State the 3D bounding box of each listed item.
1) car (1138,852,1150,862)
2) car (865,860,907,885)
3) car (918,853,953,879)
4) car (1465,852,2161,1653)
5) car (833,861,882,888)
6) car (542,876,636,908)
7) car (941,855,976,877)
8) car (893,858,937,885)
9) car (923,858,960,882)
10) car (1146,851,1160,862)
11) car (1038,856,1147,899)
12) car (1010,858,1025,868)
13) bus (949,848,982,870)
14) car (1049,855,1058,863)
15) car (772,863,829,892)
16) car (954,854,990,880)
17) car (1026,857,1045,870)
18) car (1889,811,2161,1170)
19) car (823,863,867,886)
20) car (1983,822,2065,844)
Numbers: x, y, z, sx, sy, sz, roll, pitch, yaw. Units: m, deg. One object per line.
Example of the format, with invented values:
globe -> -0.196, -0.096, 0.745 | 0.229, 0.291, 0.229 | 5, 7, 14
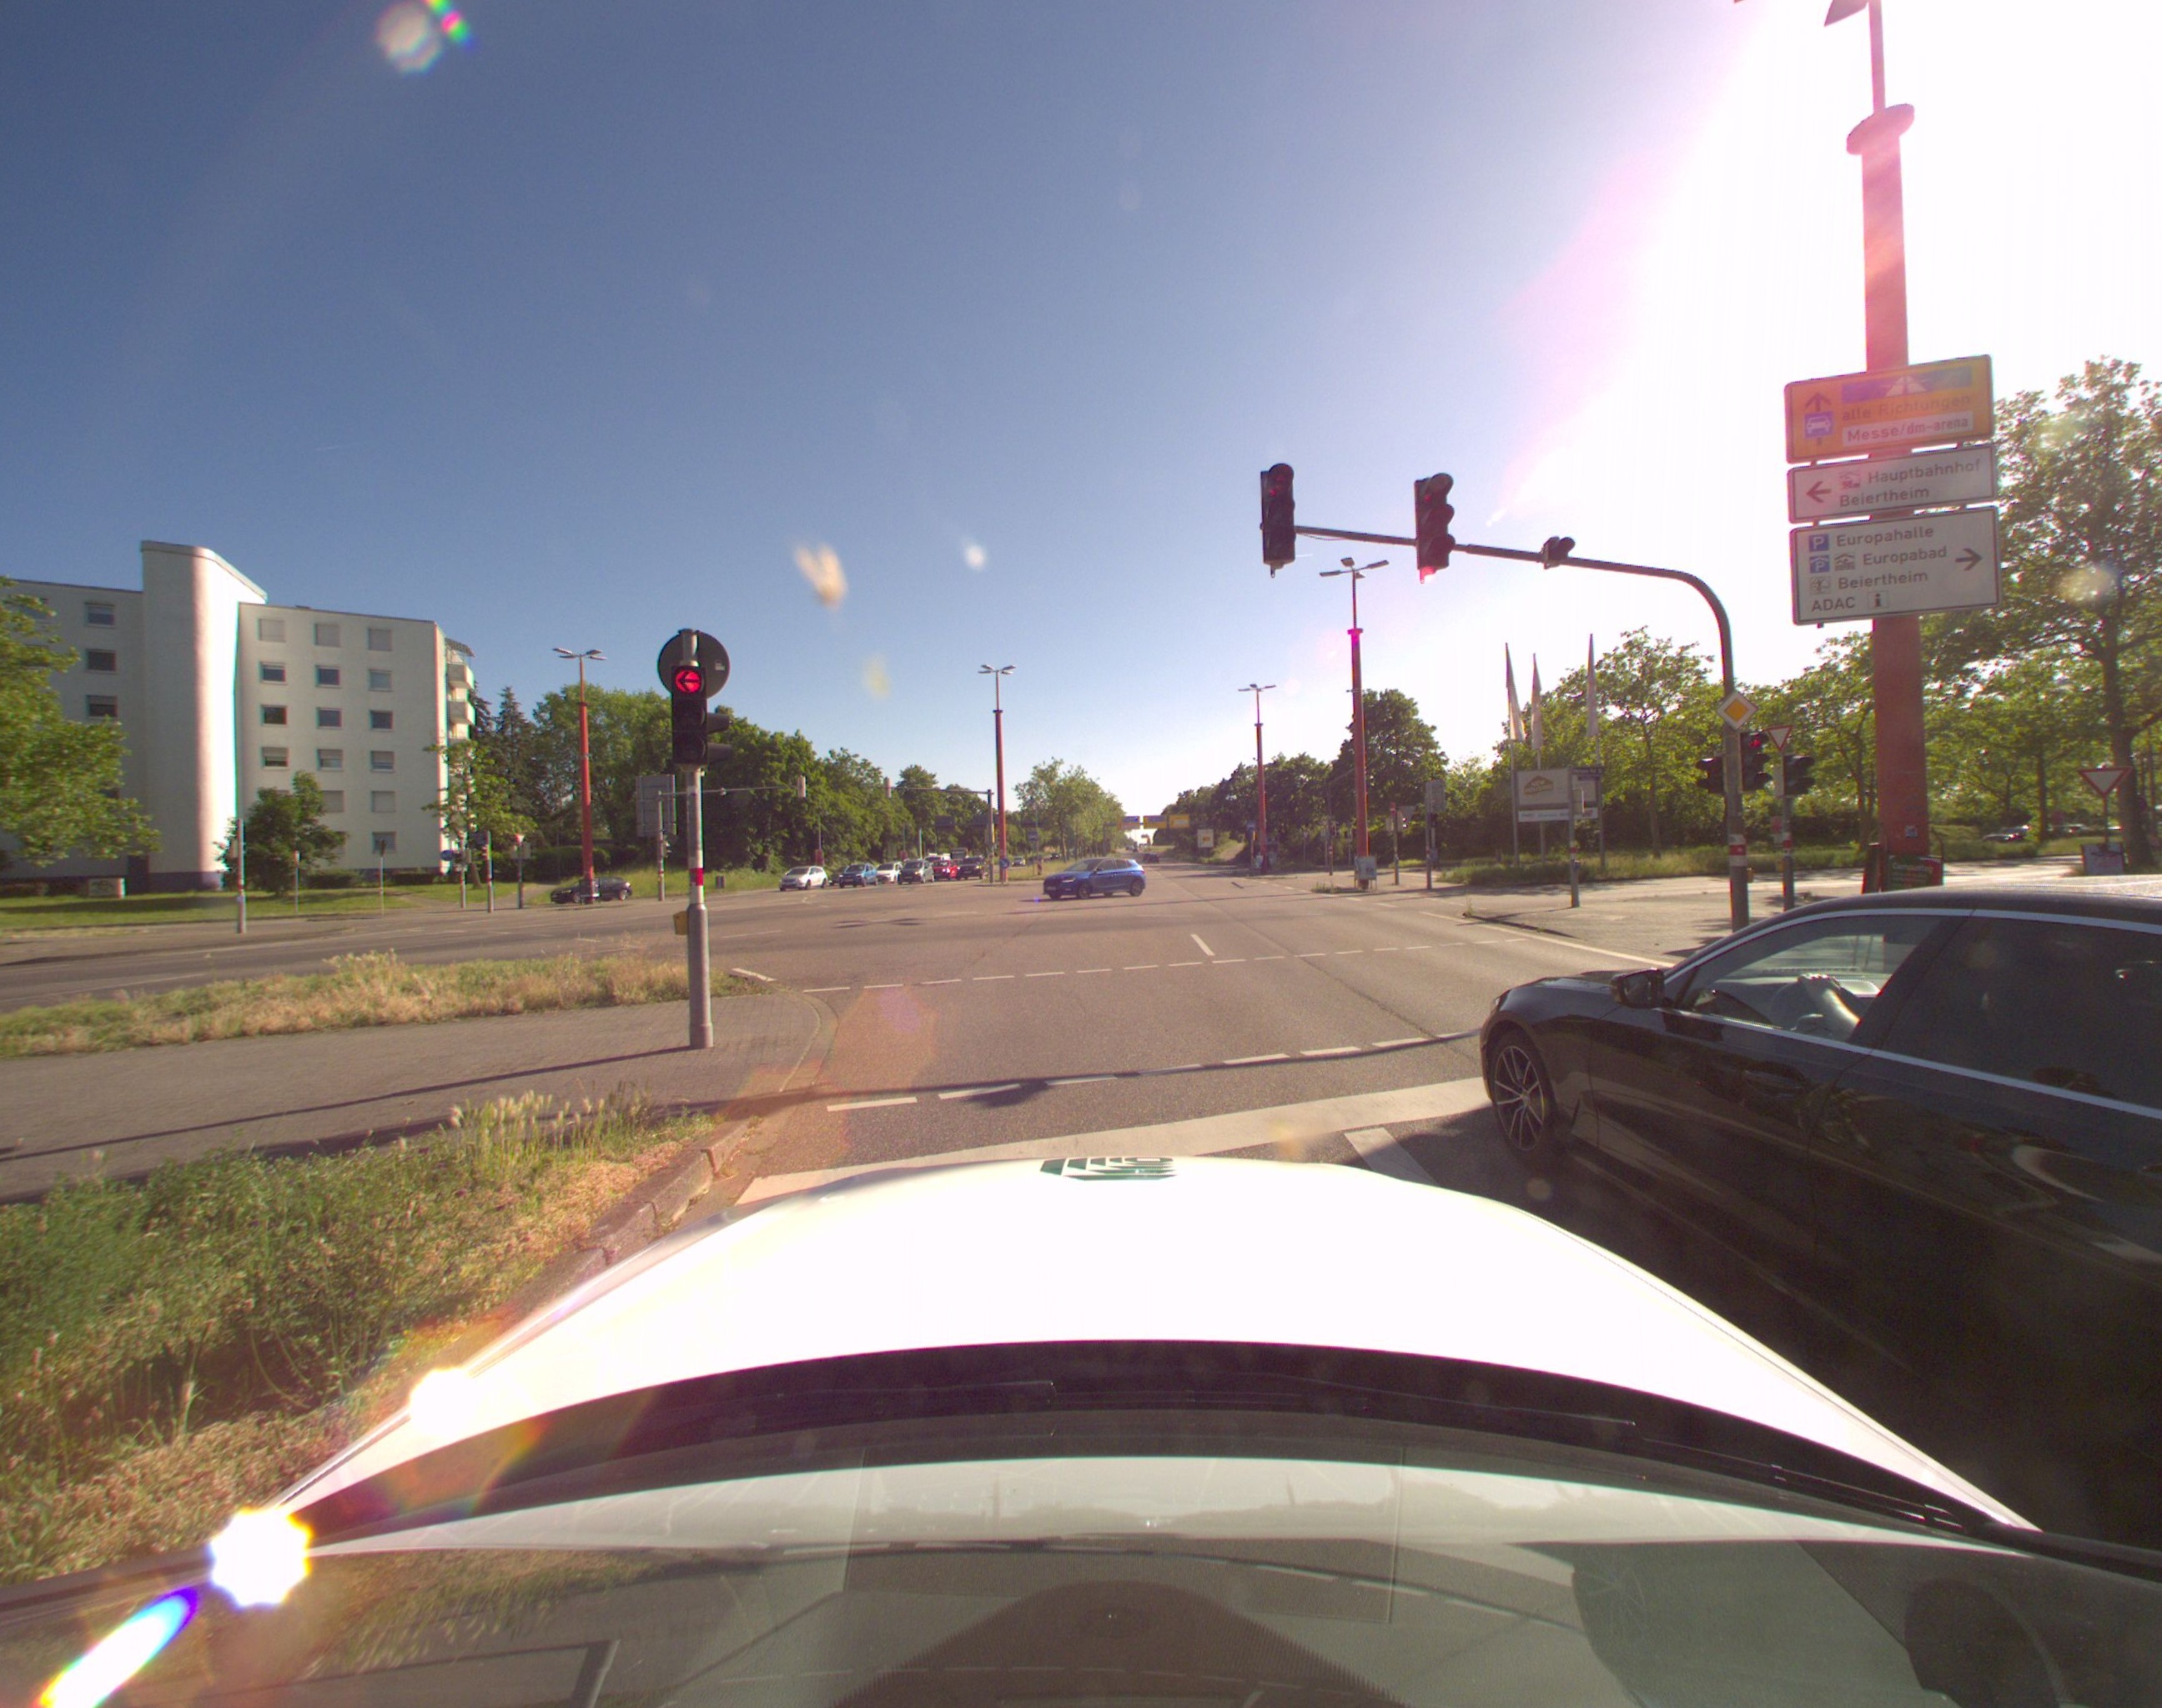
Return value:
car -> 11.242, 0.589, 145.763 | 1.986, 1.733, 4.001 | 0, -1, 2
car -> -13.764, 1.289, 57.772 | 1.895, 1.555, 4.000 | -3, 0, 0
car -> -12.713, 1.002, 71.311 | 1.954, 2.155, 5.083 | -2, 0, 1
car -> 2.875, 0.718, 2.328 | 1.756, 1.441, 4.299 | 0, 0, 4
car -> -14.128, 1.287, 51.626 | 1.794, 1.515, 3.861 | -3, 0, 2
car -> -26.888, 2.079, 44.614 | 1.815, 1.503, 3.975 | -3, -1, 39
car -> -9.737, 0.935, 65.031 | 1.893, 1.630, 4.003 | -1, 0, 3
car -> -10.686, 1.080, 52.706 | 1.867, 1.550, 4.029 | -3, 0, 2
car -> -10.057, 1.126, 59.033 | 1.869, 1.552, 4.000 | -5, 0, 0
car -> 11.072, 0.405, 125.820 | 1.986, 1.733, 4.001 | 0, -1, 2
car -> 0.464, 0.811, 29.329 | 3.930, 1.420, 1.560 | 0, -1, -42
car -> -9.912, 1.392, 127.069 | 1.878, 1.543, 4.002 | -3, 0, 2
bus -> -17.585, 0.791, 124.840 | 2.635, 3.261, 12.545 | 0, 0, 3
car -> -6.425, 1.178, 188.253 | 1.830, 1.837, 3.962 | -2, 0, 2
car -> -17.635, 1.425, 51.427 | 1.869, 1.652, 4.222 | -3, -1, 3
car -> -7.518, 0.859, 56.712 | 1.787, 1.626, 4.144 | -3, 0, 1
car -> -5.558, 1.144, 99.820 | 1.878, 1.543, 4.002 | -3, 0, 2
car -> 5.665, 0.599, 2.968 | 1.709, 1.608, 3.849 | 0, -1, 2
car -> -17.548, 1.504, 60.689 | 1.877, 1.513, 4.003 | -3, 0, 3
car -> 73.872, -1.662, 63.864 | 4.267, 1.635, 1.771 | 0, -1, 2
